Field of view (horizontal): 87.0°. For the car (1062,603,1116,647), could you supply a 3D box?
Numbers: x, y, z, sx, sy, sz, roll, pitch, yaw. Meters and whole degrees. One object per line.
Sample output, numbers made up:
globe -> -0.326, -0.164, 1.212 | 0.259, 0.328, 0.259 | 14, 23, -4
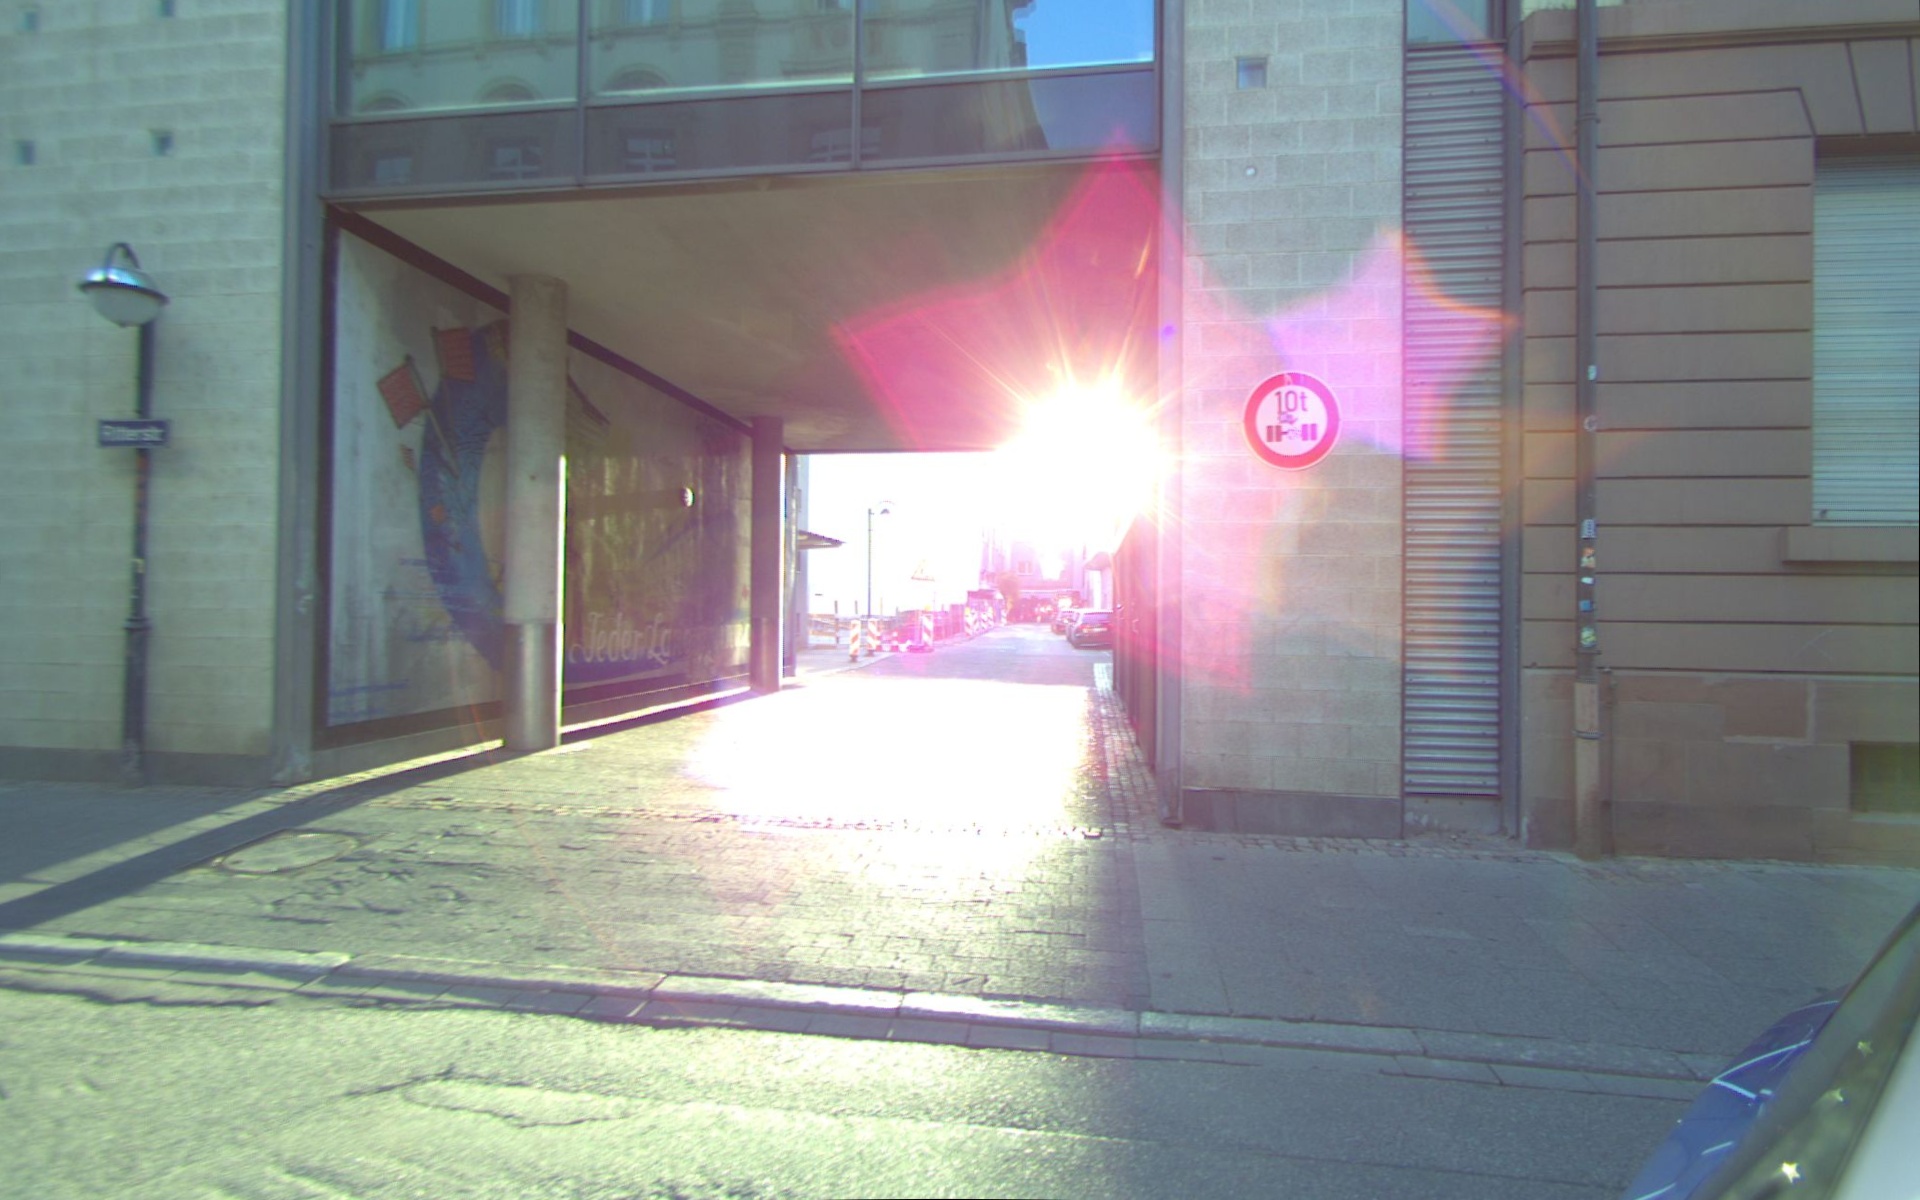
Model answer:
car -> 4.787, 0.901, 37.911 | 1.571, 1.512, 3.445 | 0, 1, 0
